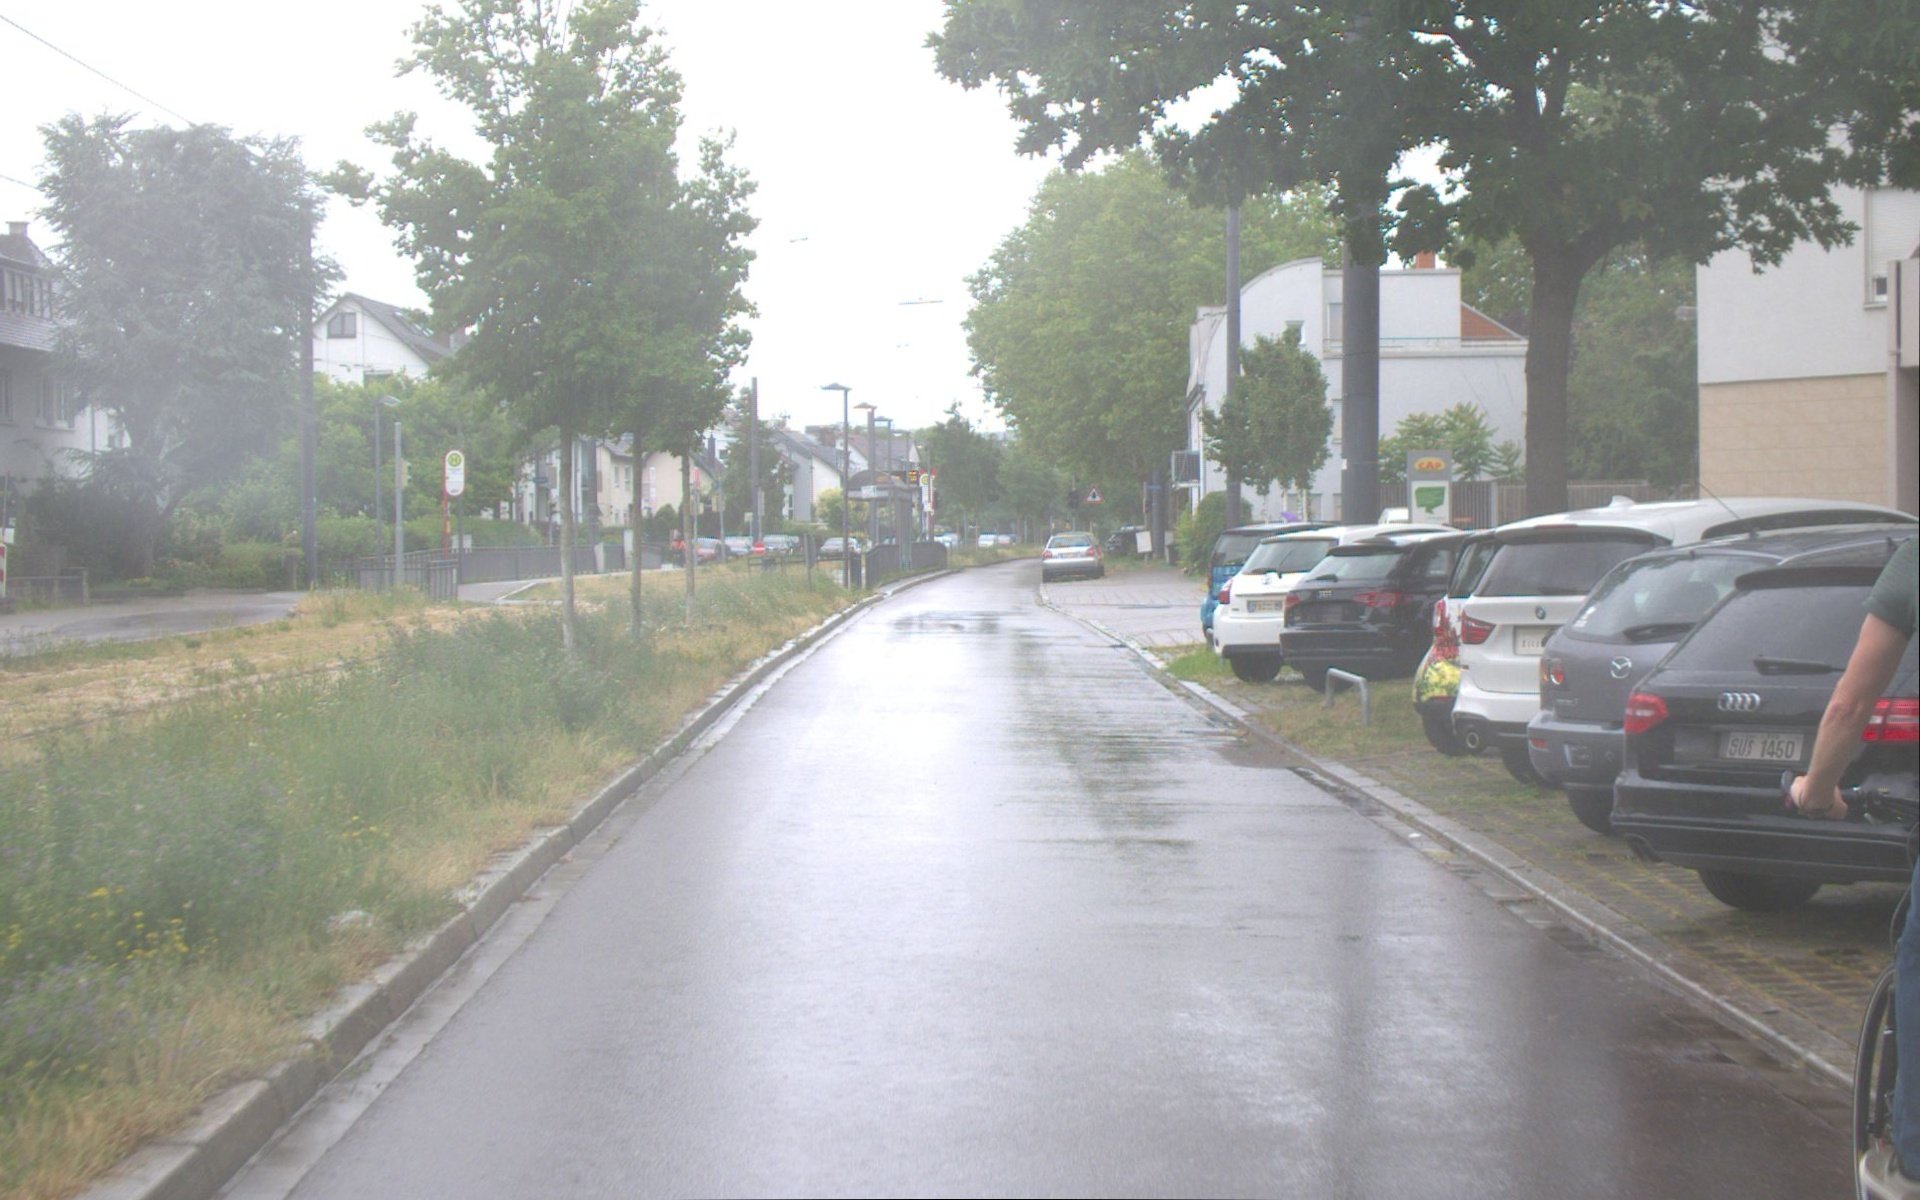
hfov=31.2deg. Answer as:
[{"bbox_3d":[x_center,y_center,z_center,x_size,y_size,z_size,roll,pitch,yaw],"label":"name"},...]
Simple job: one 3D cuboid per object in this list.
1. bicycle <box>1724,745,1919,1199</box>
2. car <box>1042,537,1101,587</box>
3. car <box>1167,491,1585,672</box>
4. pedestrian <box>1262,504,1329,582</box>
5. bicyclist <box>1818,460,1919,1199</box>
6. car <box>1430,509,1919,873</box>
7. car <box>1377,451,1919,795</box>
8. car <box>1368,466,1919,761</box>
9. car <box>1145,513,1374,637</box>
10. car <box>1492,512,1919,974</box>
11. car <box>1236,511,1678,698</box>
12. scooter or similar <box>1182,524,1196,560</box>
[{"bbox_3d":[1.936,0.854,6.147,0.536,1.089,1.949,1,0,-5],"label":"bicycle"},{"bbox_3d":[3.424,-1.161,104.973,1.650,1.400,4.649,-3,0,2],"label":"car"},{"bbox_3d":[4.262,-0.222,34.874,4.174,1.542,1.764,-5,3,-40],"label":"car"},{"bbox_3d":[6.659,-1.130,68.331,0.835,1.512,1.095,0,0,-29],"label":"pedestrian"},{"bbox_3d":[1.935,0.533,6.144,0.534,1.554,0.773,1,0,-6],"label":"bicyclist"},{"bbox_3d":[4.561,0.310,16.642,4.447,1.405,1.768,-5,3,-34],"label":"car"},{"bbox_3d":[4.672,0.039,20.080,4.448,1.666,1.812,-5,3,-39],"label":"car"},{"bbox_3d":[4.893,0.024,23.227,4.173,1.666,1.684,-5,3,-37],"label":"car"},{"bbox_3d":[3.889,-0.335,44.612,2.558,1.542,1.602,-2,1,-40],"label":"car"},{"bbox_3d":[4.307,0.368,13.233,4.447,1.423,1.684,-4,3,-34],"label":"car"},{"bbox_3d":[4.609,0.006,31.645,3.933,1.426,1.684,-5,3,-37],"label":"car"},{"bbox_3d":[6.860,-1.728,102.855,0.333,1.081,1.395,1,0,7],"label":"scooter or similar"}]
